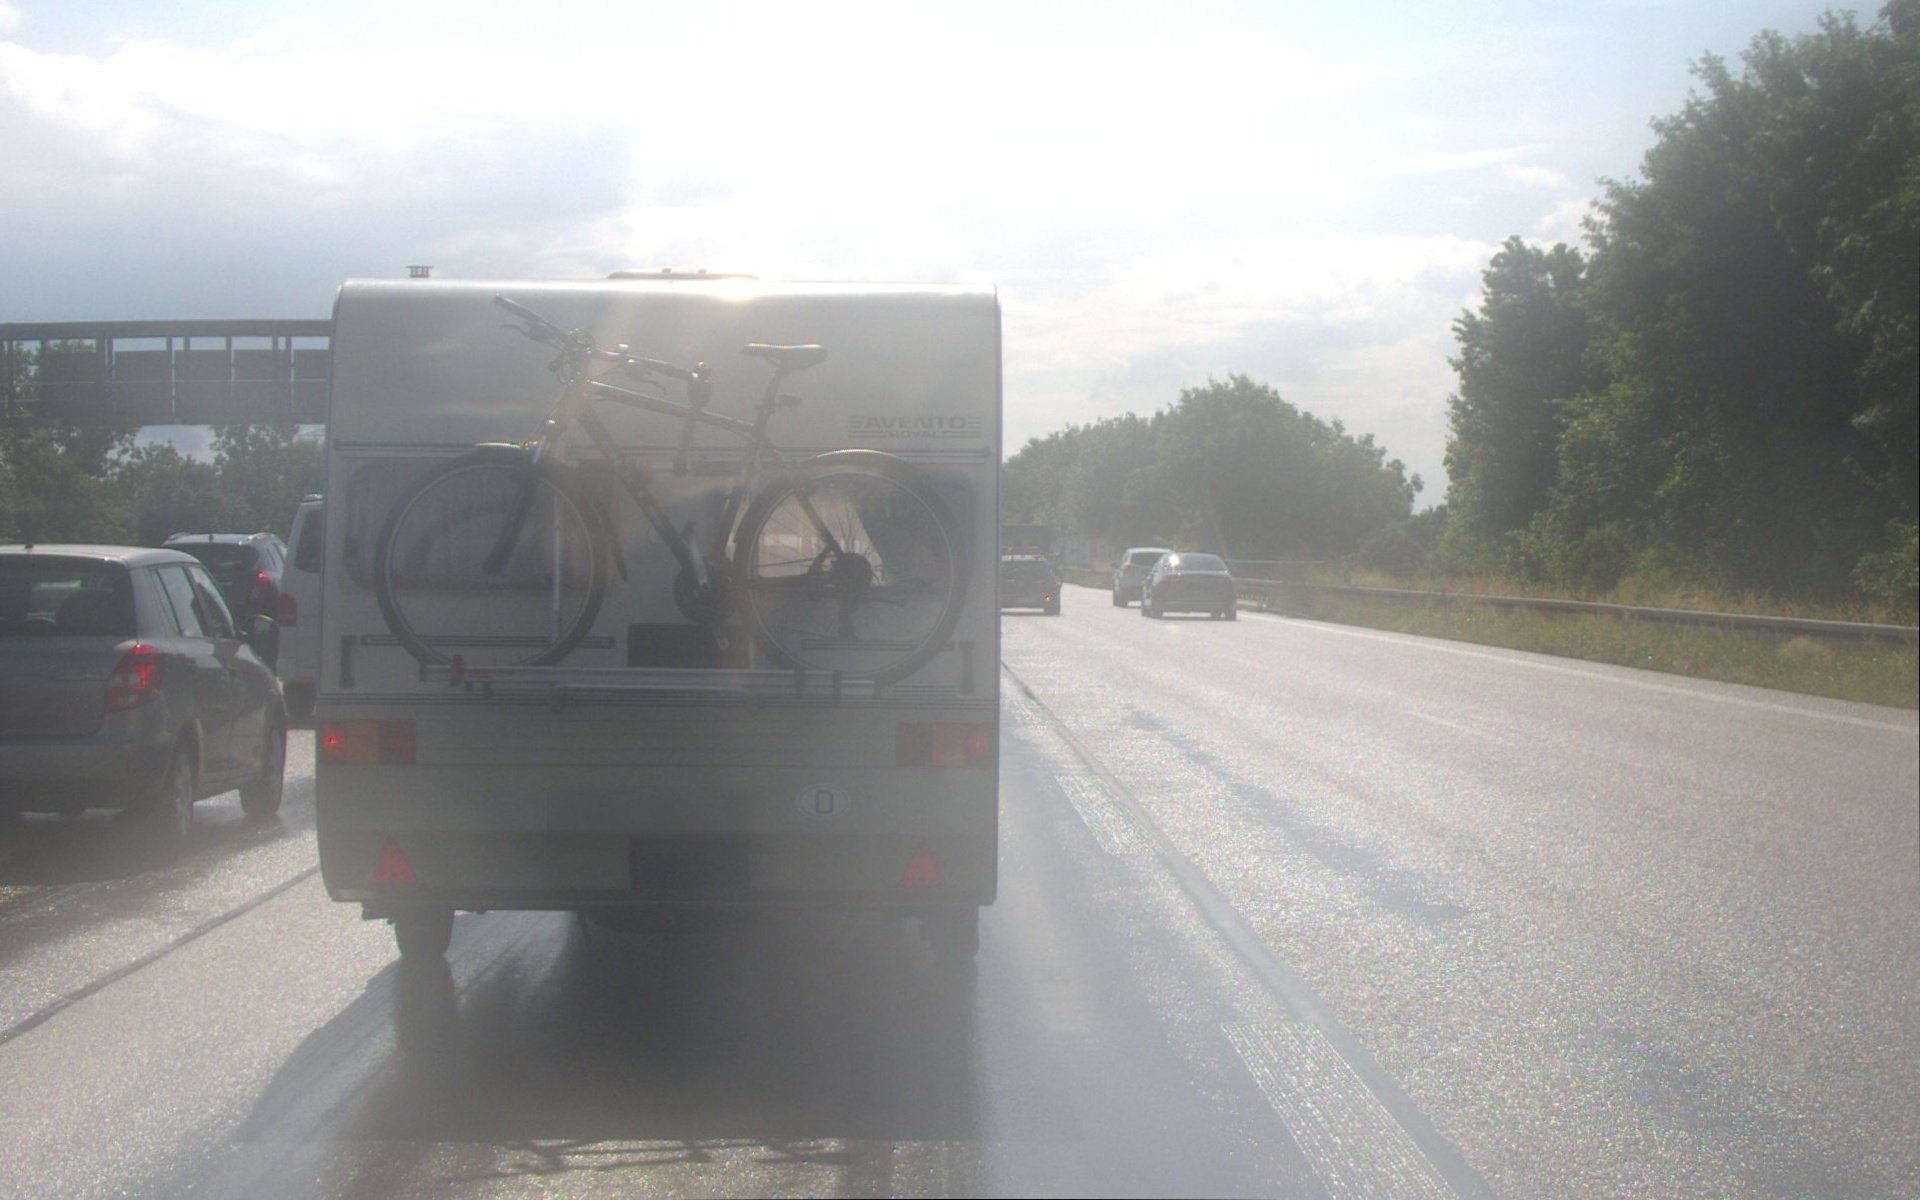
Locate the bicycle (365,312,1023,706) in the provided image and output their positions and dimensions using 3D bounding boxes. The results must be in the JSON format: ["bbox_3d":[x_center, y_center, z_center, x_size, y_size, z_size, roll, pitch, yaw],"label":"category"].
[{"bbox_3d":[-0.784,-0.271,10.341,1.934,1.137,0.384,1,0,1],"label":"bicycle"}]

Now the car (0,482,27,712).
[{"bbox_3d":[-8.919,-0.005,27.144,1.848,1.927,5.017,0,1,-1],"label":"car"}]

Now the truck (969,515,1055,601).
[{"bbox_3d":[1.483,-1.240,100.522,2.415,2.435,6.053,0,1,0],"label":"truck"}]

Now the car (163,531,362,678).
[{"bbox_3d":[-8.316,0.027,41.280,1.771,1.656,4.001,1,1,-3],"label":"car"}]

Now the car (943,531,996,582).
[{"bbox_3d":[0.311,-1.475,115.861,1.719,1.678,4.000,0,1,0],"label":"car"}]

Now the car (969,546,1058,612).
[{"bbox_3d":[1.280,-0.516,83.752,1.835,1.552,4.001,1,1,-4],"label":"car"}]

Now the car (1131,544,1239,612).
[{"bbox_3d":[5.134,-0.512,78.864,1.876,1.489,4.001,1,1,-5],"label":"car"}]

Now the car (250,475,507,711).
[{"bbox_3d":[-5.246,-0.081,31.475,1.876,2.007,4.001,1,1,-3],"label":"car"}]

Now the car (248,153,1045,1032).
[{"bbox_3d":[-0.967,-0.044,12.535,2.410,2.665,4.000,1,1,0],"label":"car"}]

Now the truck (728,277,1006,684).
[{"bbox_3d":[-1.234,-1.439,44.509,3.146,4.610,10.737,0,1,-2],"label":"truck"}]

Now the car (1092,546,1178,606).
[{"bbox_3d":[4.896,-0.676,96.664,1.876,1.623,4.001,1,1,-5],"label":"car"}]

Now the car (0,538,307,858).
[{"bbox_3d":[-4.709,0.414,17.664,1.987,1.453,3.827,0,1,0],"label":"car"}]
